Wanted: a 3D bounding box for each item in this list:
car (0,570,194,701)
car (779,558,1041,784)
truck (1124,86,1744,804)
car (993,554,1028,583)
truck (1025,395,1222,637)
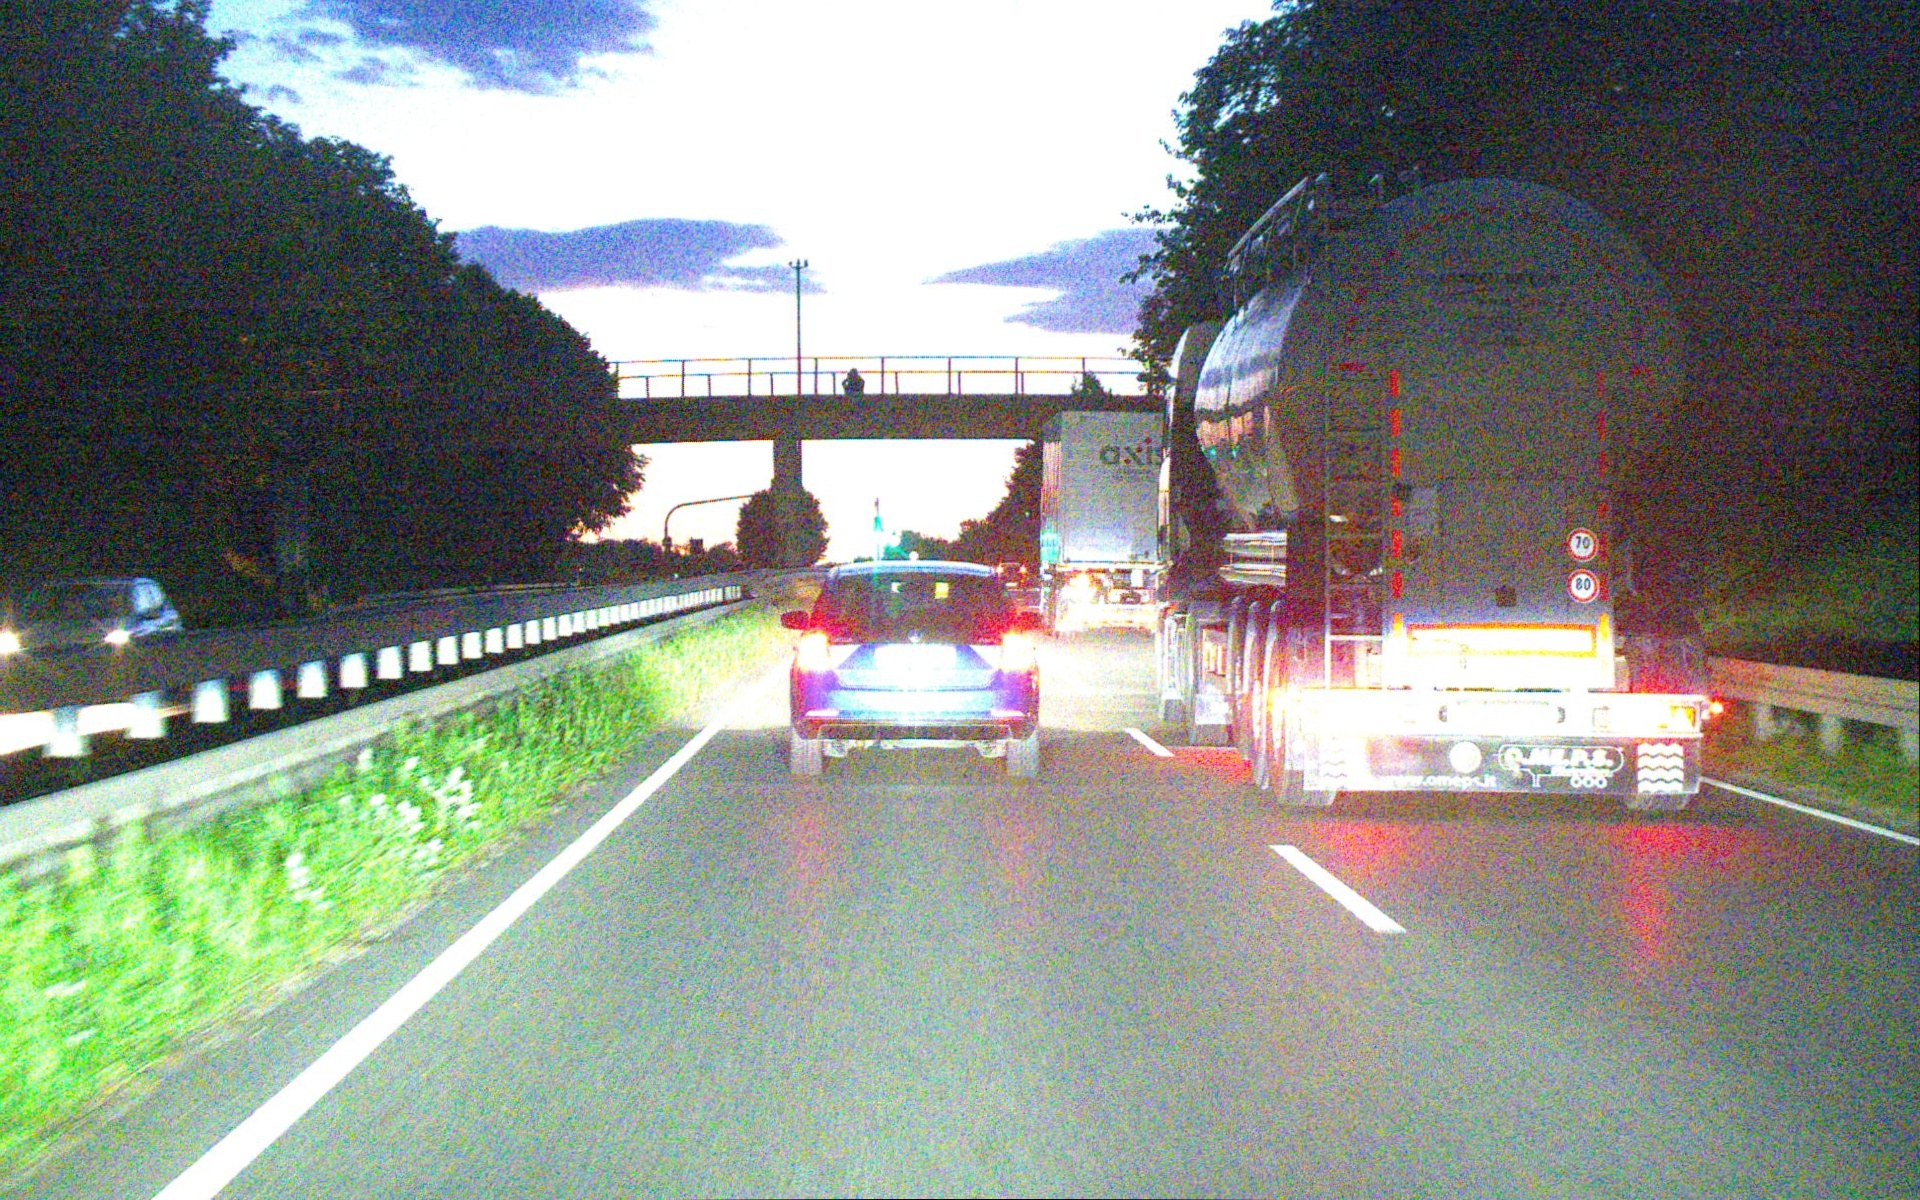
[{"bbox_3d":[-10.524,0.399,41.741,1.617,1.502,3.869,1,0,-1],"label":"car"},{"bbox_3d":[-0.355,0.448,24.378,1.695,1.447,3.914,1,0,-1],"label":"car"},{"bbox_3d":[3.041,-0.936,26.323,2.687,4.092,13.142,1,0,-1],"label":"truck"},{"bbox_3d":[2.603,-1.640,177.427,1.695,1.447,3.914,1,0,-1],"label":"car"},{"bbox_3d":[2.917,-1.486,65.078,2.883,4.092,12.684,1,0,-1],"label":"truck"}]
